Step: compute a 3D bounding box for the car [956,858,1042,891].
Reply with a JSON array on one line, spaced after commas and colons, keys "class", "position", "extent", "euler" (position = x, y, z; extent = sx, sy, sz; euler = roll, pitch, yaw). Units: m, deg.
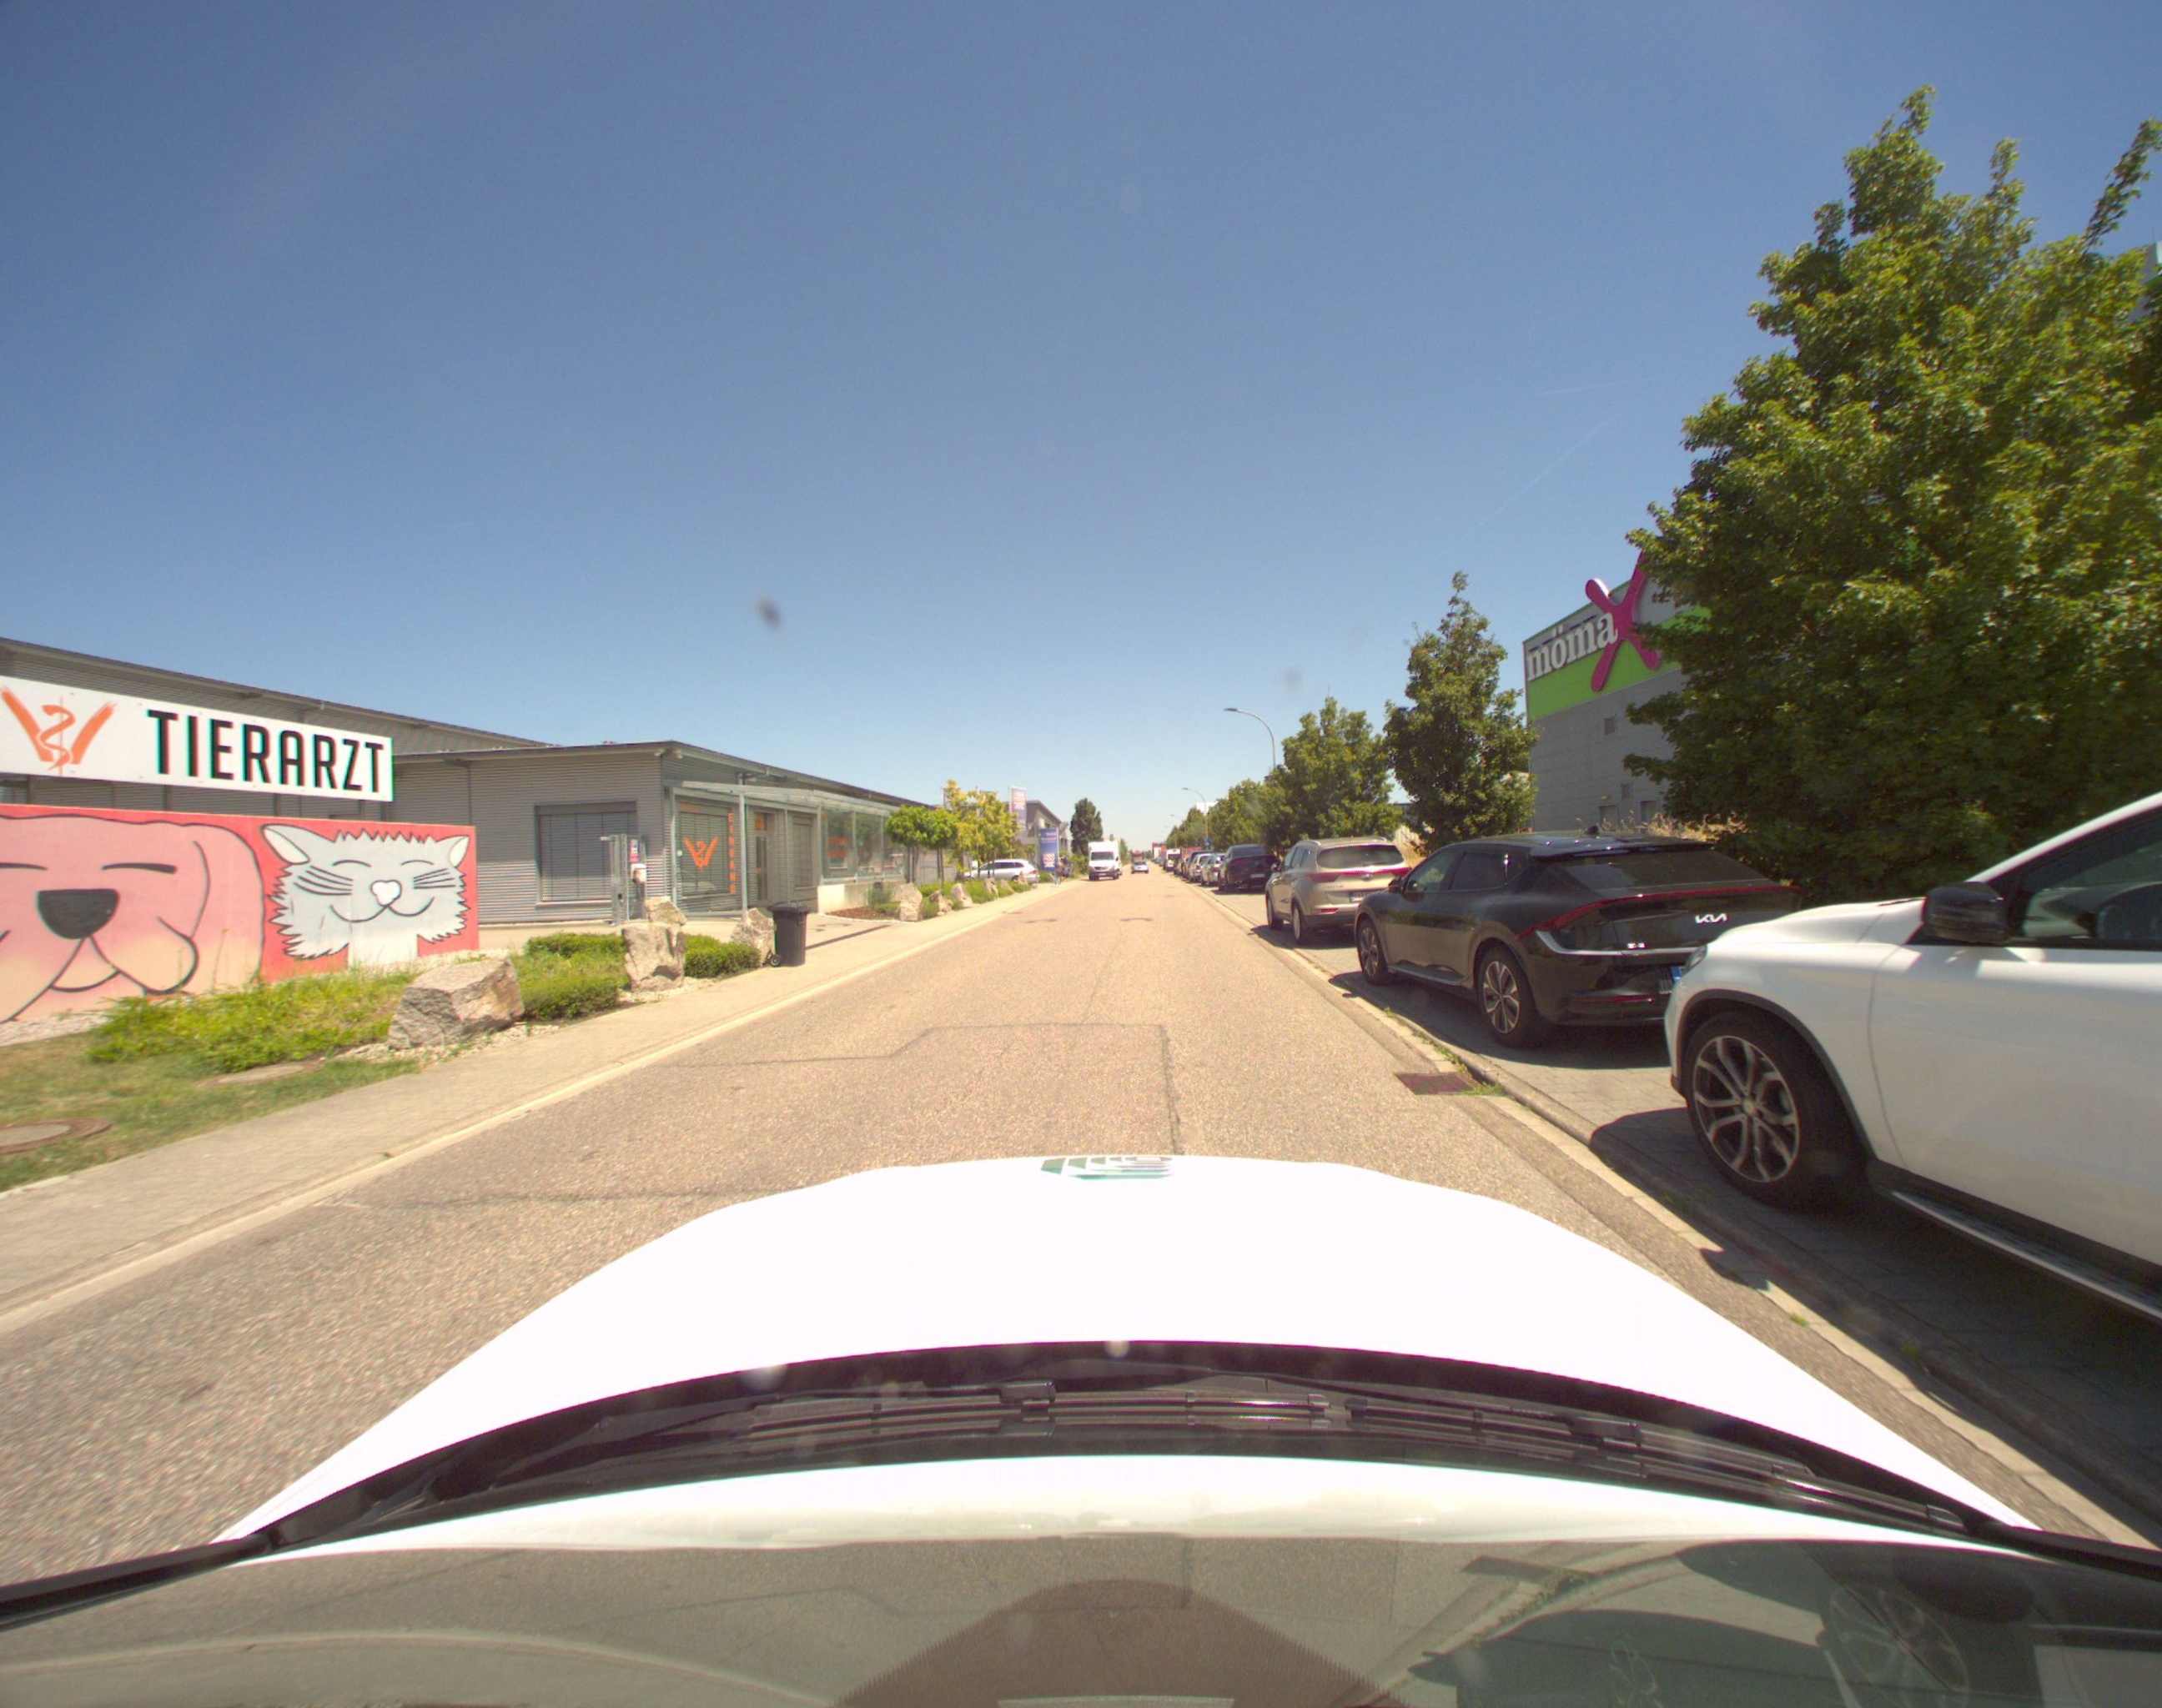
[{"class": "car", "position": [-4.297, 1.064, 43.260], "extent": [4.244, 1.518, 1.868], "euler": [-2, -1, 3]}]

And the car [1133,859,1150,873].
[{"class": "car", "position": [6.629, 1.290, 89.189], "extent": [1.775, 1.422, 4.418], "euler": [-5, -1, 4]}]

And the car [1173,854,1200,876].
[{"class": "car", "position": [8.366, 0.873, 64.688], "extent": [1.731, 1.530, 4.003], "euler": [-5, -1, 3]}]

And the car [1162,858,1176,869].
[{"class": "car", "position": [13.174, 1.354, 121.289], "extent": [1.699, 1.504, 4.718], "euler": [-3, -1, 9]}]

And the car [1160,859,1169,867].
[{"class": "car", "position": [16.188, 1.758, 158.076], "extent": [1.710, 1.450, 3.650], "euler": [-3, -1, 4]}]

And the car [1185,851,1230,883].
[{"class": "car", "position": [6.641, 0.668, 43.255], "extent": [1.707, 1.483, 4.775], "euler": [-4, 0, 2]}]

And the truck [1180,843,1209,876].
[{"class": "truck", "position": [8.362, 0.419, 60.288], "extent": [1.671, 2.181, 4.395], "euler": [-5, -1, 4]}]

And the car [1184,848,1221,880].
[{"class": "car", "position": [7.235, 0.577, 48.796], "extent": [1.802, 1.725, 4.780], "euler": [-4, 0, 5]}]

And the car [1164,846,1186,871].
[{"class": "car", "position": [10.597, 0.518, 91.721], "extent": [2.256, 2.497, 6.163], "euler": [-3, -1, 6]}]

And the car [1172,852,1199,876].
[{"class": "car", "position": [9.002, 0.842, 70.533], "extent": [1.984, 1.884, 5.162], "euler": [-4, -1, 5]}]

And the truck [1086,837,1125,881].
[{"class": "truck", "position": [1.902, 0.391, 60.549], "extent": [2.350, 2.860, 6.423], "euler": [-5, -1, 5]}]

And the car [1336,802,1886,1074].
[{"class": "car", "position": [3.978, 0.527, 7.321], "extent": [1.897, 1.529, 4.630], "euler": [-4, 0, 1]}]

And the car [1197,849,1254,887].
[{"class": "car", "position": [6.510, 0.592, 37.184], "extent": [1.798, 1.483, 4.775], "euler": [-4, 0, 2]}]

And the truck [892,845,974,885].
[{"class": "truck", "position": [-13.943, 1.048, 76.487], "extent": [7.959, 3.557, 2.603], "euler": [-2, -1, 33]}]

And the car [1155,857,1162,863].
[{"class": "car", "position": [19.435, 1.558, 205.181], "extent": [1.578, 1.409, 3.504], "euler": [-3, 0, 4]}]

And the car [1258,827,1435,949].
[{"class": "car", "position": [4.332, 0.500, 14.058], "extent": [1.796, 1.635, 4.463], "euler": [-4, 0, 4]}]

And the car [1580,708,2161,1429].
[{"class": "car", "position": [3.562, 0.439, 1.818], "extent": [2.134, 1.698, 4.791], "euler": [-4, 0, 4]}]

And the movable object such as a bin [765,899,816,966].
[{"class": "movable object such as a bin", "position": [-4.417, 1.179, 12.403], "extent": [0.569, 0.949, 0.512], "euler": [-2, 0, -1]}]

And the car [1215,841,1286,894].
[{"class": "car", "position": [6.190, 0.458, 30.245], "extent": [1.940, 1.701, 4.551], "euler": [-4, 0, 5]}]

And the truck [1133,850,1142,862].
[{"class": "truck", "position": [16.635, 0.567, 238.656], "extent": [2.437, 3.513, 8.282], "euler": [-4, 0, 4]}]

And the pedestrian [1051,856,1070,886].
[{"class": "pedestrian", "position": [-1.100, 0.918, 43.845], "extent": [0.894, 1.574, 0.787], "euler": [-1, 0, 5]}]

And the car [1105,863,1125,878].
[{"class": "car", "position": [3.467, 1.627, 82.462], "extent": [1.722, 1.458, 4.497], "euler": [-2, -1, 4]}]

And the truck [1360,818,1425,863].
[{"class": "truck", "position": [29.468, -1.247, 77.184], "extent": [5.039, 3.875, 2.807], "euler": [-3, -2, 5]}]

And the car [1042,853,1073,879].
[{"class": "car", "position": [-1.885, 0.974, 66.775], "extent": [1.984, 1.956, 5.224], "euler": [-2, -1, 4]}]

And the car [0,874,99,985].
[{"class": "car", "position": [-16.621, 1.140, 10.981], "extent": [1.901, 1.584, 3.998], "euler": [-2, 0, -1]}]

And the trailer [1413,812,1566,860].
[{"class": "trailer", "position": [38.220, -1.645, 76.506], "extent": [12.559, 3.875, 2.807], "euler": [-3, -2, 4]}]
